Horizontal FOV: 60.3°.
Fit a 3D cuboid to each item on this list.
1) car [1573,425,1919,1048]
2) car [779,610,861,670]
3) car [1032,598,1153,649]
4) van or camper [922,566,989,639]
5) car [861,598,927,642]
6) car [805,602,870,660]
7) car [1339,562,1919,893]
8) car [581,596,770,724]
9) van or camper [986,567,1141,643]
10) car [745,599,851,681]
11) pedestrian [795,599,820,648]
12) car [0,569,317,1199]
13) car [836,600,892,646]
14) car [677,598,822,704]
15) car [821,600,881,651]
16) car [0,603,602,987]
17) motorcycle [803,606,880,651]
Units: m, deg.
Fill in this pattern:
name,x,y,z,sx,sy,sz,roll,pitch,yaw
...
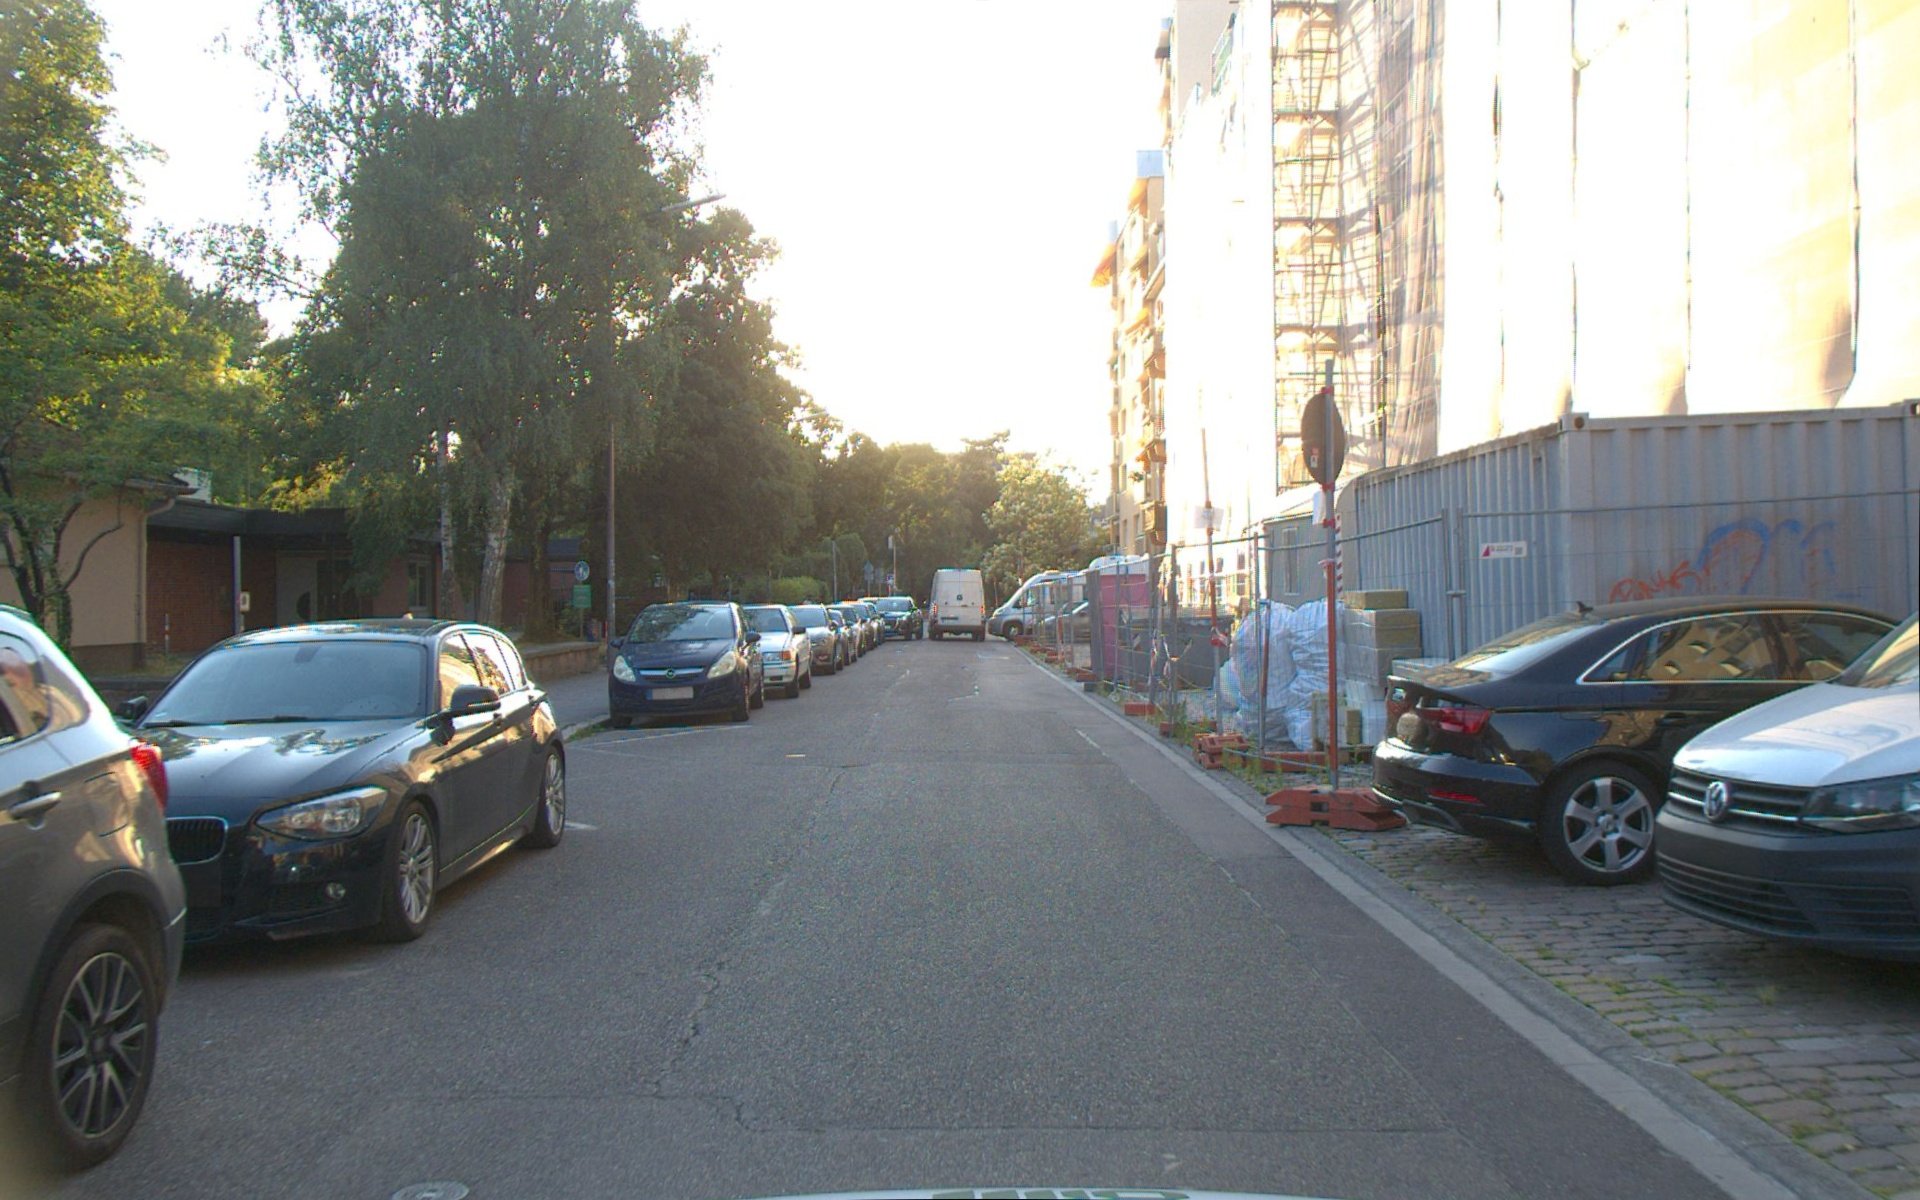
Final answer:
name,x,y,z,sx,sy,sz,roll,pitch,yaw
car,4.887,0.323,6.573,4.186,2.014,1.818,-3,1,-8
car,-3.377,0.934,40.529,1.625,1.336,4.154,-2,0,0
car,4.608,0.819,58.037,3.910,1.542,2.017,-3,0,-5
van or camper,-0.168,0.119,63.104,2.403,2.591,6.082,1,0,0
car,-2.460,0.747,62.654,1.766,1.597,4.568,-1,0,7
car,-3.403,0.840,46.289,1.569,1.456,3.802,-3,0,-2
car,4.368,0.639,9.269,4.067,1.644,1.872,-1,0,1
car,-3.540,0.707,21.293,1.954,1.478,3.997,0,0,-3
van or camper,3.937,0.196,63.664,5.808,2.818,2.109,1,-1,-2
car,-3.382,0.806,35.243,1.822,1.565,4.757,-2,0,-1
pedestrian,-5.873,0.909,63.719,0.919,1.862,0.786,0,-1,-2
car,-3.185,0.703,3.277,1.953,1.545,4.788,0,0,0
car,-3.327,0.787,57.849,1.603,1.504,3.992,-2,0,1
car,-3.299,0.768,26.781,1.746,1.471,4.747,-3,0,-1
car,-3.440,0.789,52.697,1.681,1.522,4.359,-2,0,-2
car,-3.294,0.758,8.531,1.953,1.478,4.288,0,0,0
motorcycle,-3.548,0.853,49.503,2.118,1.326,0.880,0,-1,14
